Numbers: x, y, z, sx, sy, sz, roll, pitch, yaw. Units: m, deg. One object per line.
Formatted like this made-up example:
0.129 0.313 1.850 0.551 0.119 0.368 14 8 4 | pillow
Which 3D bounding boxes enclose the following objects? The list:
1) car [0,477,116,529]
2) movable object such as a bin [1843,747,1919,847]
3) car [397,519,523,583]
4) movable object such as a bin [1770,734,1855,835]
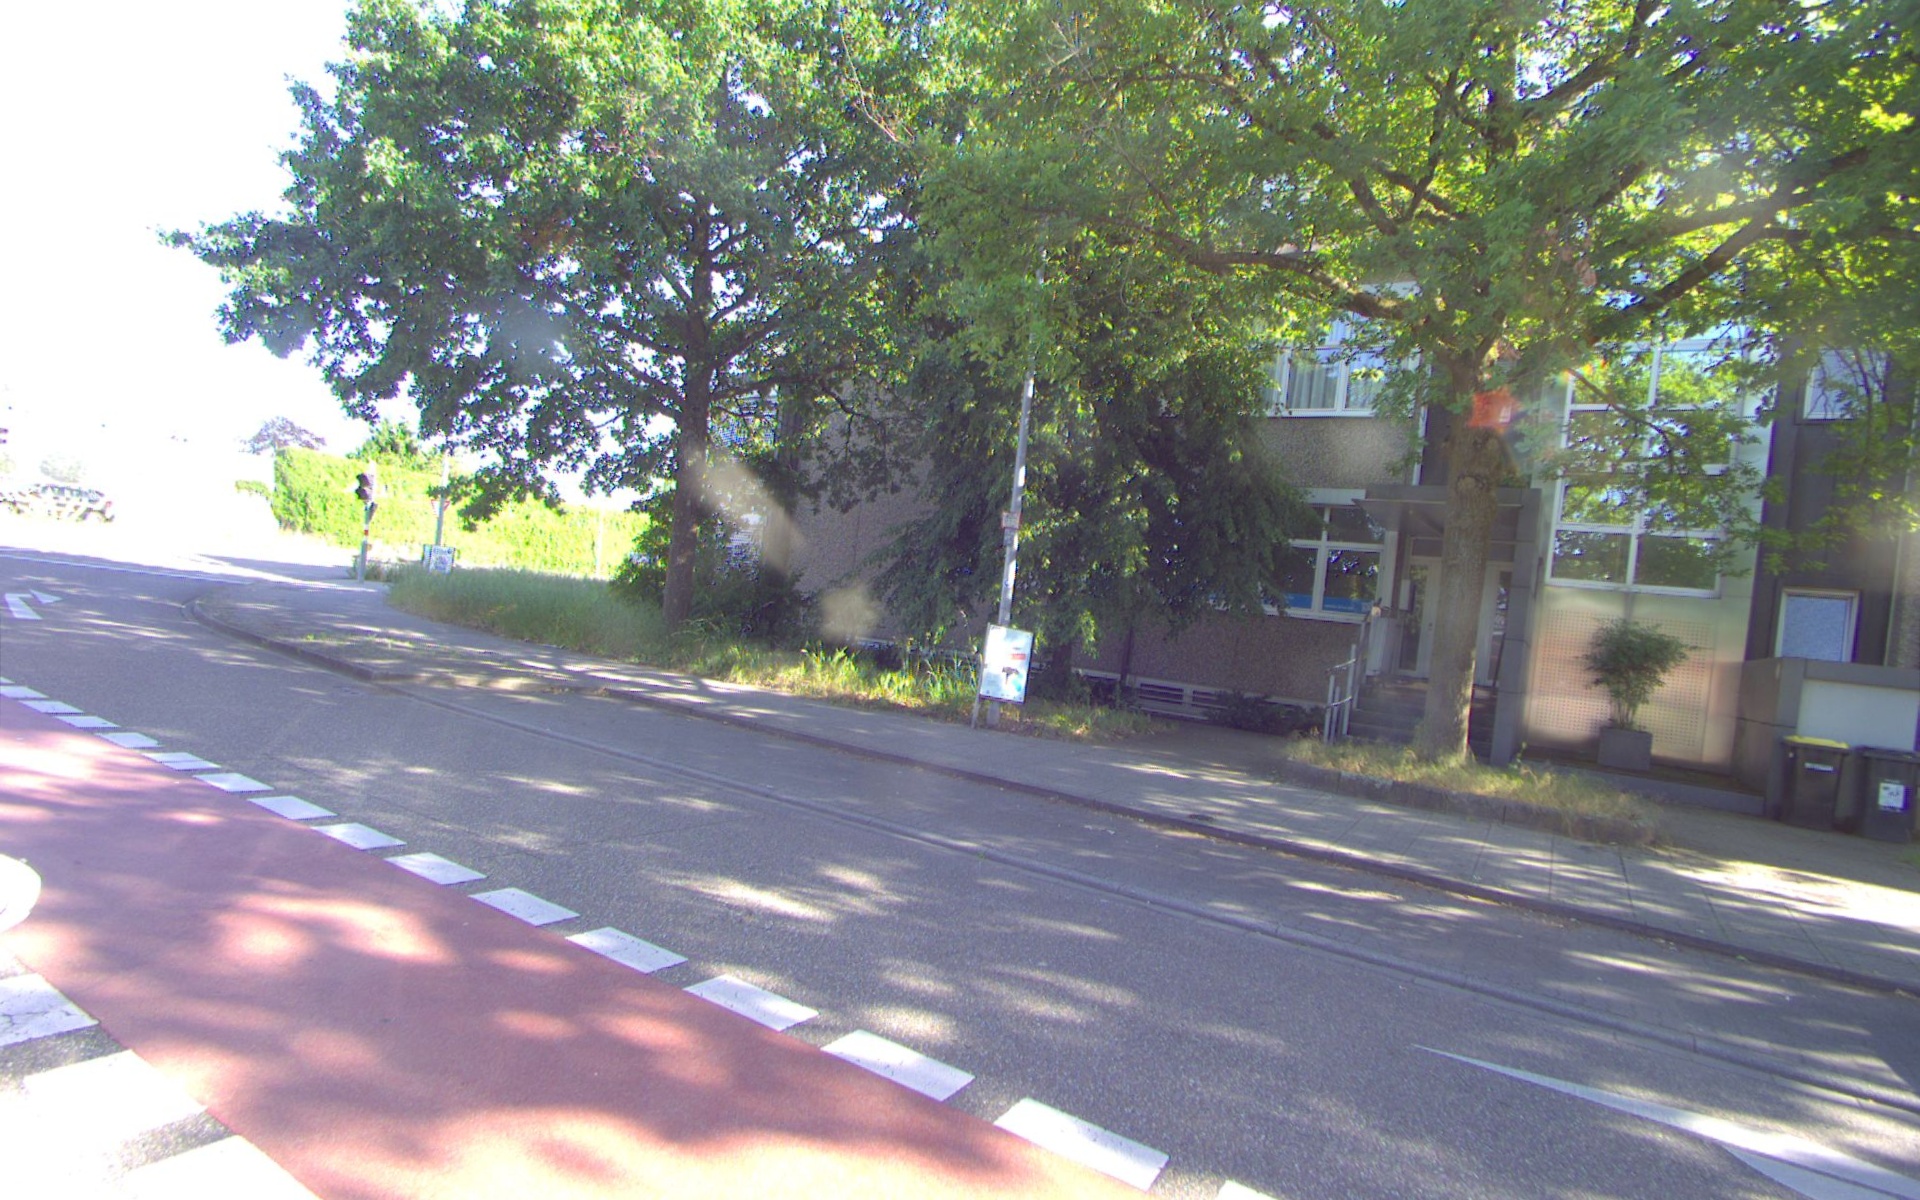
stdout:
-33.931 -3.636 36.944 1.548 1.317 4.170 6 -2 28 | car
10.788 2.280 11.720 0.566 1.019 0.629 6 -1 31 | movable object such as a bin
-13.894 -1.324 28.161 1.433 1.311 3.412 7 -2 7 | car
10.184 2.183 12.042 0.571 1.045 0.713 7 0 31 | movable object such as a bin
